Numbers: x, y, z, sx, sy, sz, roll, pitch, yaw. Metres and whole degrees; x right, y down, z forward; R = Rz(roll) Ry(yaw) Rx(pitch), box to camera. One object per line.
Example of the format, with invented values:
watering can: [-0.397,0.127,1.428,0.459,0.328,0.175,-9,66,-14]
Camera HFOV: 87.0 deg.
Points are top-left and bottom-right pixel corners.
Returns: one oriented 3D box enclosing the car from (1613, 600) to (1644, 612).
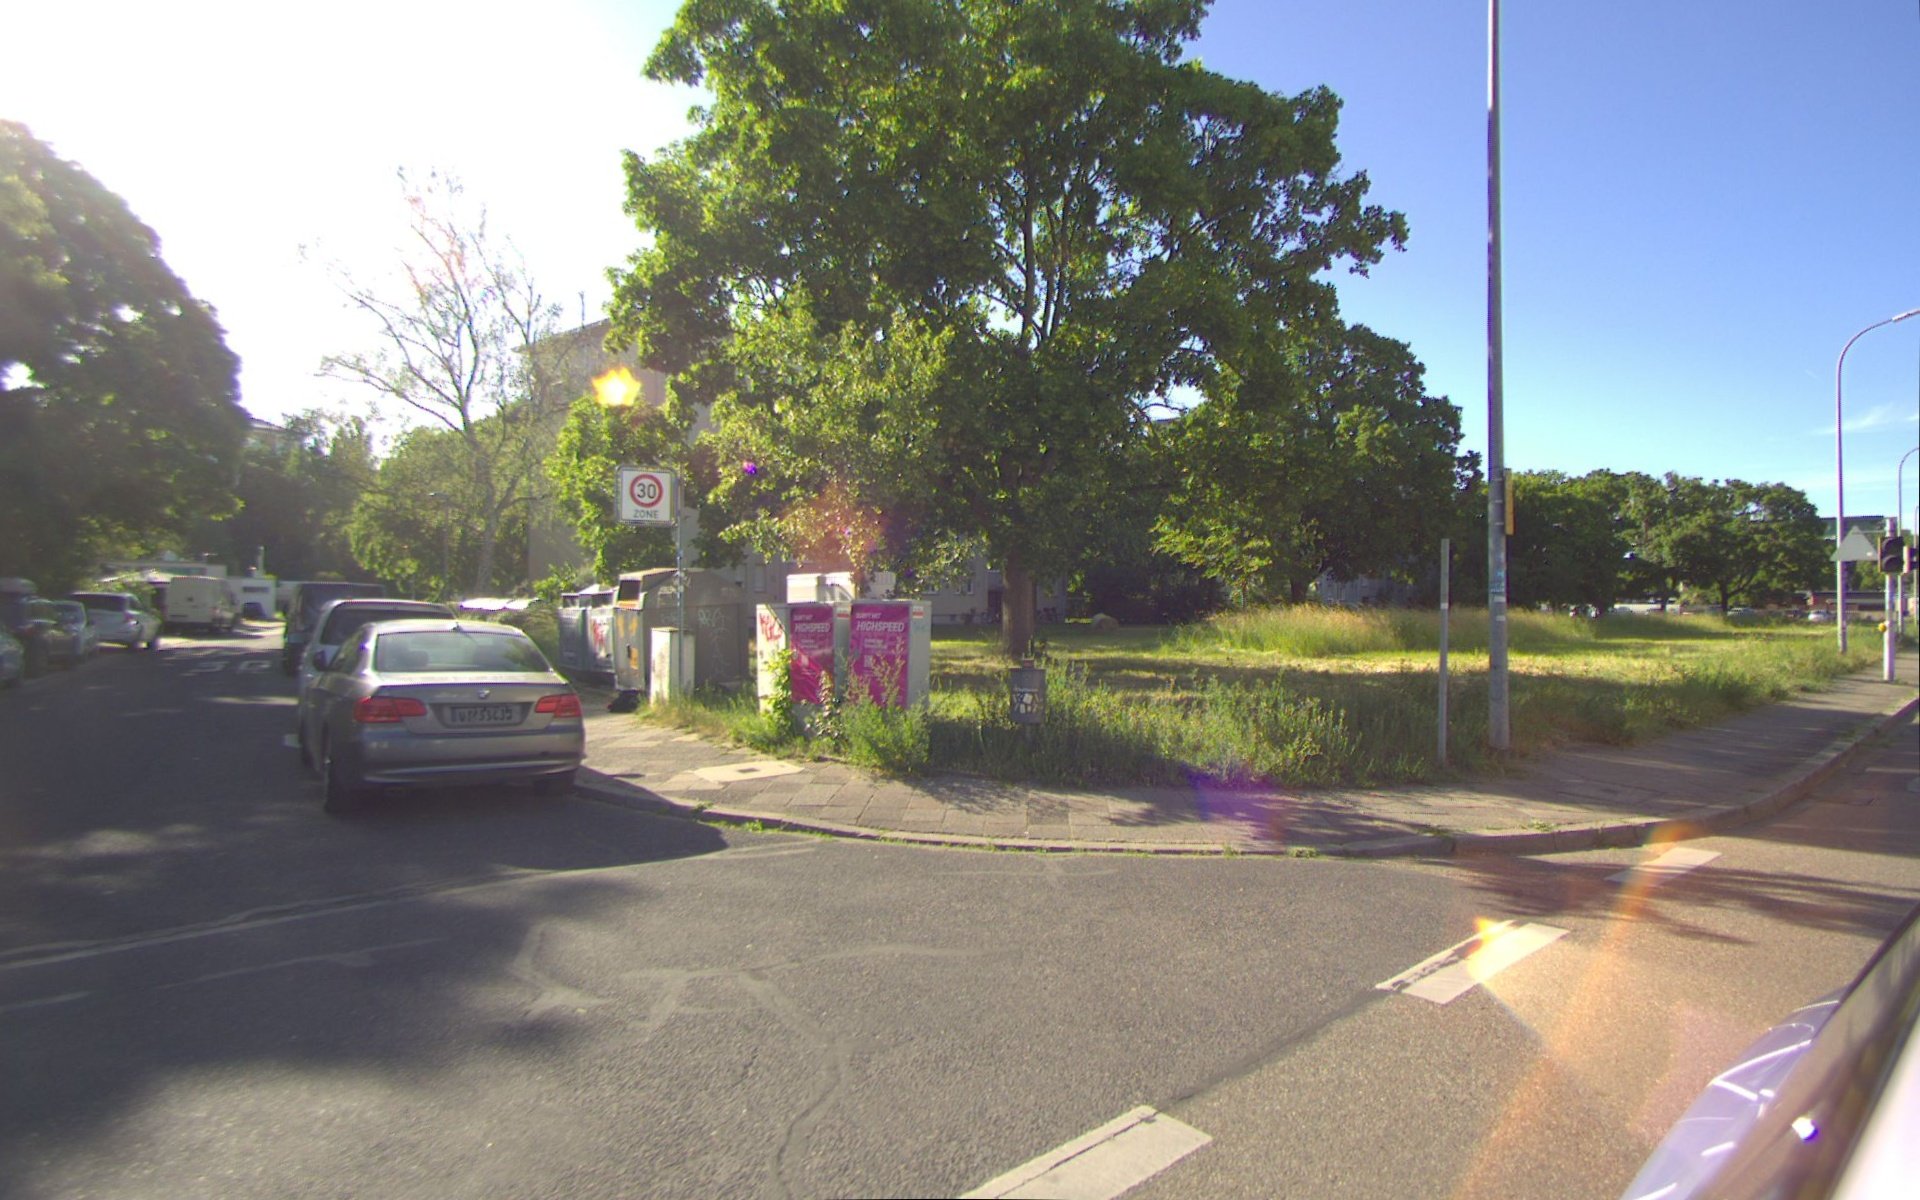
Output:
car: [90.079,0.758,136.387,3.921,1.581,1.959,0,0,-31]

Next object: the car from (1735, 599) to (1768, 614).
car: [96.446,0.841,123.307,3.921,1.796,1.863,0,0,-31]

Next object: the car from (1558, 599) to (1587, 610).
car: [86.608,0.655,143.105,3.921,1.581,1.959,0,0,-31]

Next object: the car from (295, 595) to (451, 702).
car: [-9.947,0.733,16.991,1.935,1.561,4.116,1,-1,-35]

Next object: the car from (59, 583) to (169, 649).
car: [-25.467,0.424,30.608,1.961,1.830,4.471,0,0,-32]

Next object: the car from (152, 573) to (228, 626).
car: [-35.355,-0.069,46.612,2.222,2.290,5.082,0,1,-31]

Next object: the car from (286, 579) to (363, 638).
car: [-23.488,0.291,37.554,2.122,2.038,4.524,0,0,-29]

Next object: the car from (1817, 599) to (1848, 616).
car: [100.937,0.857,117.013,3.926,1.883,1.956,0,0,-37]

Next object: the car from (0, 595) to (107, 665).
car: [-22.705,0.696,25.305,1.964,1.632,3.874,0,0,-38]

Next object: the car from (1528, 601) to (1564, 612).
car: [78.586,0.852,135.729,1.959,1.469,3.645,0,0,-28]

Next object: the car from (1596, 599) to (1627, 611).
car: [89.037,0.723,138.306,3.921,1.581,1.959,0,0,-31]

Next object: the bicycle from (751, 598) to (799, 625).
bicycle: [-8.691,0.526,47.629,0.930,1.220,2.676,0,0,22]

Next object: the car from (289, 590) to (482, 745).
car: [-7.126,0.693,12.426,1.793,1.598,3.698,0,0,-33]

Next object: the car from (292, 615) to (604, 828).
car: [-4.634,0.826,8.774,1.713,1.355,4.438,2,-2,-36]

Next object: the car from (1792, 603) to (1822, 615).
car: [99.532,1.060,118.944,3.923,1.341,1.782,0,0,-35]

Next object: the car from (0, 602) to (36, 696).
car: [-16.427,0.734,16.384,1.754,1.415,3.876,2,-1,-37]

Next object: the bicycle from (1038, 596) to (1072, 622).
bicycle: [5.954,0.561,63.236,0.778,1.544,2.716,0,1,40]

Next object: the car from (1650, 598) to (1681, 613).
car: [92.372,0.729,132.448,3.921,1.795,1.958,-2,1,-31]

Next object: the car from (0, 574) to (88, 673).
car: [-19.552,0.454,20.666,1.960,1.875,3.881,0,0,-30]

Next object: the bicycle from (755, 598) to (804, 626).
bicycle: [-8.245,0.543,46.419,0.930,1.220,2.676,0,0,22]

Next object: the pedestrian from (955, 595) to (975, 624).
pedestrian: [0.272,0.493,53.539,0.752,1.475,0.758,0,0,35]

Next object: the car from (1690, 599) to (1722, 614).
car: [94.406,0.802,128.105,3.921,1.796,1.958,0,0,-31]

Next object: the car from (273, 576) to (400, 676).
car: [-14.131,0.522,22.962,2.229,2.038,4.521,0,0,-32]
